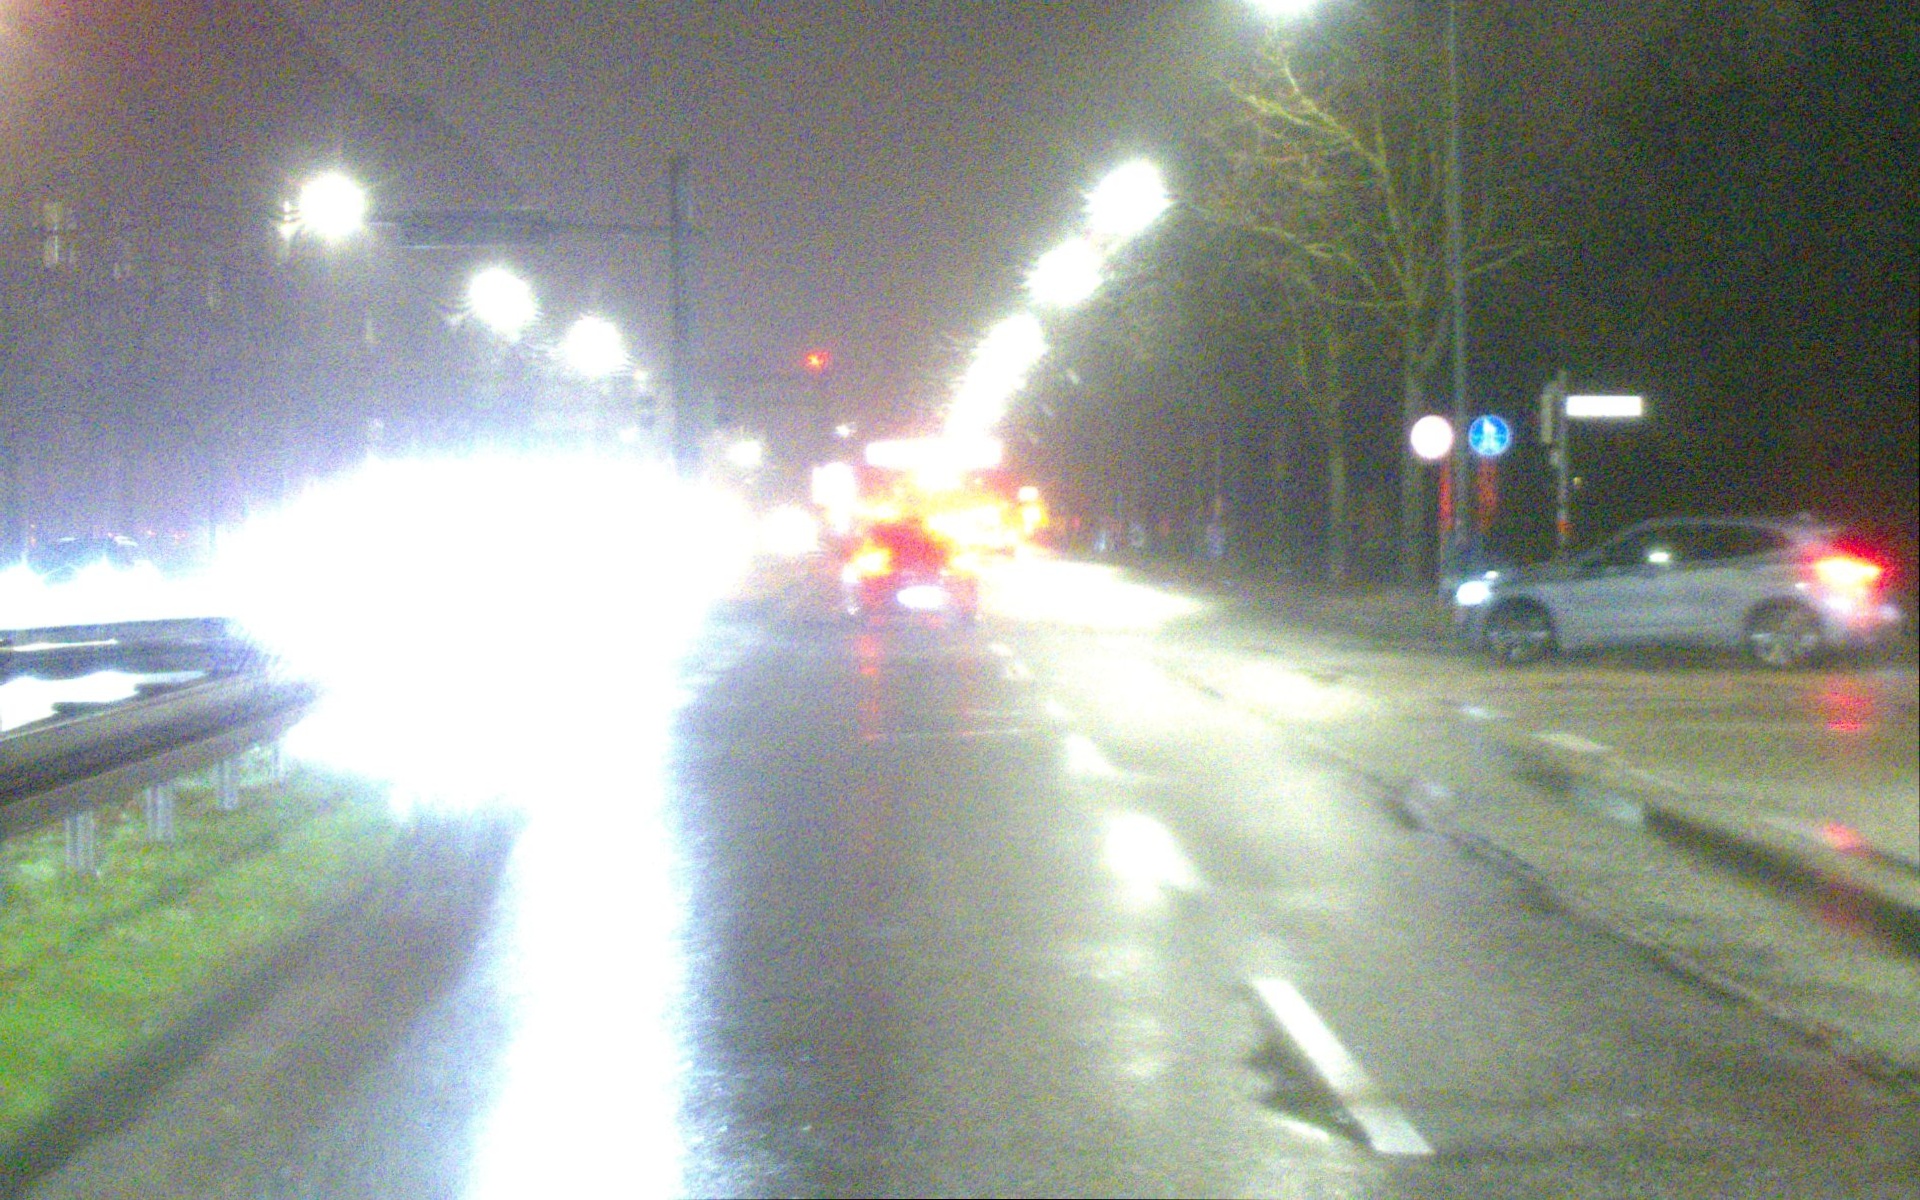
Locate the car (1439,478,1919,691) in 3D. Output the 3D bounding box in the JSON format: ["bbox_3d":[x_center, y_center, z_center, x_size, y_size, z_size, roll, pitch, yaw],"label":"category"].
[{"bbox_3d":[7.350,-0.182,34.502,4.624,2.007,1.997,1,1,25],"label":"car"}]

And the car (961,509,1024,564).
[{"bbox_3d":[1.069,-2.092,114.412,1.993,1.753,4.000,1,1,-1],"label":"car"}]

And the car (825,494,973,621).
[{"bbox_3d":[-0.847,-0.601,49.004,1.993,1.700,4.633,1,1,-1],"label":"car"}]
